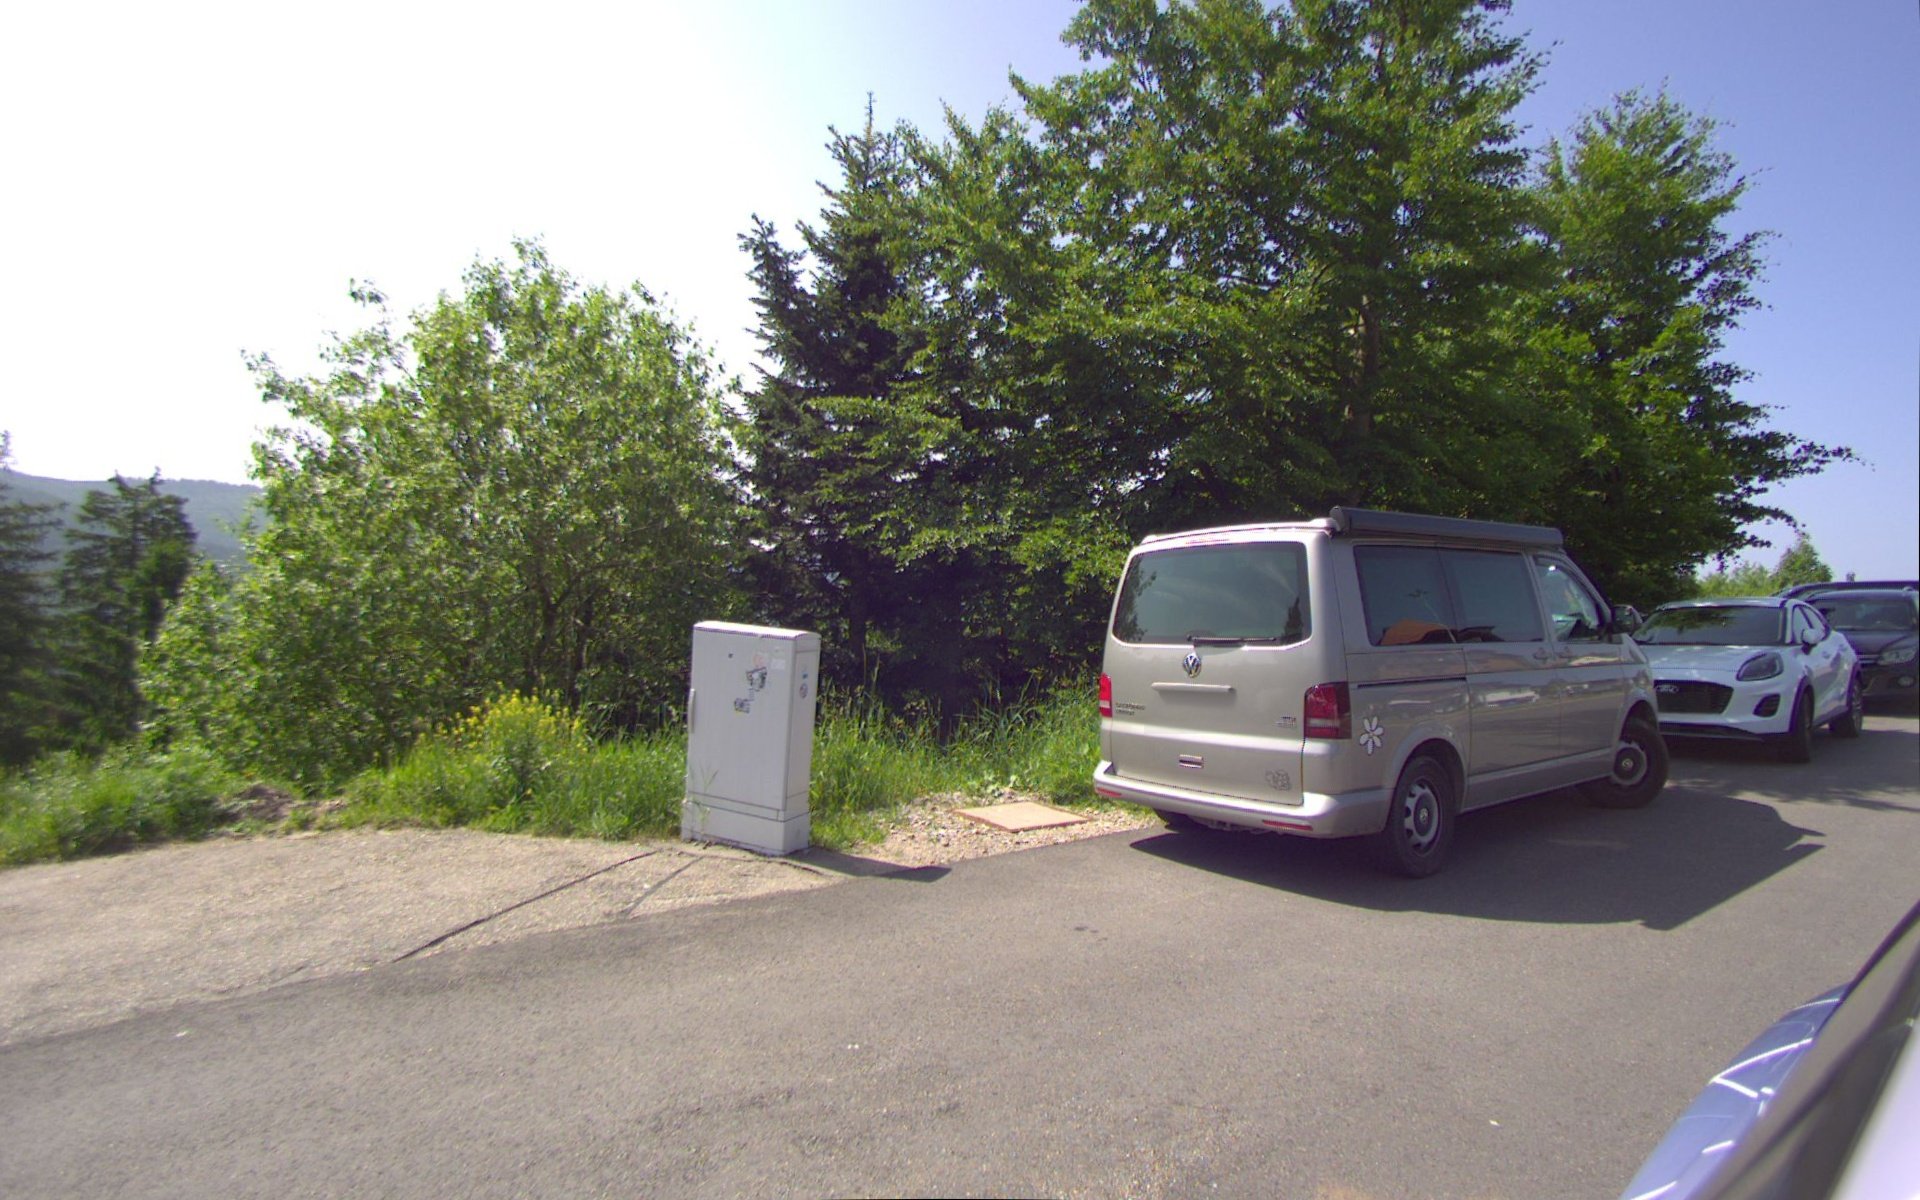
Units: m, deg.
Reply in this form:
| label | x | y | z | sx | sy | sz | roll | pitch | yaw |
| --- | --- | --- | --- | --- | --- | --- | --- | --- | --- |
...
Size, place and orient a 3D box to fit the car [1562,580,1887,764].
| label | x | y | z | sx | sy | sz | roll | pitch | yaw |
| --- | --- | --- | --- | --- | --- | --- | --- | --- | --- |
| car | 8.110 | 0.630 | 10.624 | 3.929 | 1.567 | 1.874 | 0 | -1 | -40 |

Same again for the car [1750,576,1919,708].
| label | x | y | z | sx | sy | sz | roll | pitch | yaw |
| --- | --- | --- | --- | --- | --- | --- | --- | --- | --- |
| car | 12.934 | 0.537 | 14.413 | 3.929 | 1.639 | 1.874 | 0 | -1 | -40 |

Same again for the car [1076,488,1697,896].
| label | x | y | z | sx | sy | sz | roll | pitch | yaw |
| --- | --- | --- | --- | --- | --- | --- | --- | --- | --- |
| car | 3.106 | 0.464 | 6.966 | 4.522 | 1.960 | 1.862 | 1 | -1 | -36 |

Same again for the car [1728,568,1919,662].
| label | x | y | z | sx | sy | sz | roll | pitch | yaw |
| --- | --- | --- | --- | --- | --- | --- | --- | --- | --- |
| car | 19.749 | 0.326 | 22.200 | 4.426 | 1.950 | 1.855 | -1 | -1 | 32 |

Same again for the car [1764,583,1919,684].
| label | x | y | z | sx | sy | sz | roll | pitch | yaw |
| --- | --- | --- | --- | --- | --- | --- | --- | --- | --- |
| car | 16.340 | 0.547 | 17.185 | 3.969 | 1.639 | 1.855 | -1 | -1 | 32 |
